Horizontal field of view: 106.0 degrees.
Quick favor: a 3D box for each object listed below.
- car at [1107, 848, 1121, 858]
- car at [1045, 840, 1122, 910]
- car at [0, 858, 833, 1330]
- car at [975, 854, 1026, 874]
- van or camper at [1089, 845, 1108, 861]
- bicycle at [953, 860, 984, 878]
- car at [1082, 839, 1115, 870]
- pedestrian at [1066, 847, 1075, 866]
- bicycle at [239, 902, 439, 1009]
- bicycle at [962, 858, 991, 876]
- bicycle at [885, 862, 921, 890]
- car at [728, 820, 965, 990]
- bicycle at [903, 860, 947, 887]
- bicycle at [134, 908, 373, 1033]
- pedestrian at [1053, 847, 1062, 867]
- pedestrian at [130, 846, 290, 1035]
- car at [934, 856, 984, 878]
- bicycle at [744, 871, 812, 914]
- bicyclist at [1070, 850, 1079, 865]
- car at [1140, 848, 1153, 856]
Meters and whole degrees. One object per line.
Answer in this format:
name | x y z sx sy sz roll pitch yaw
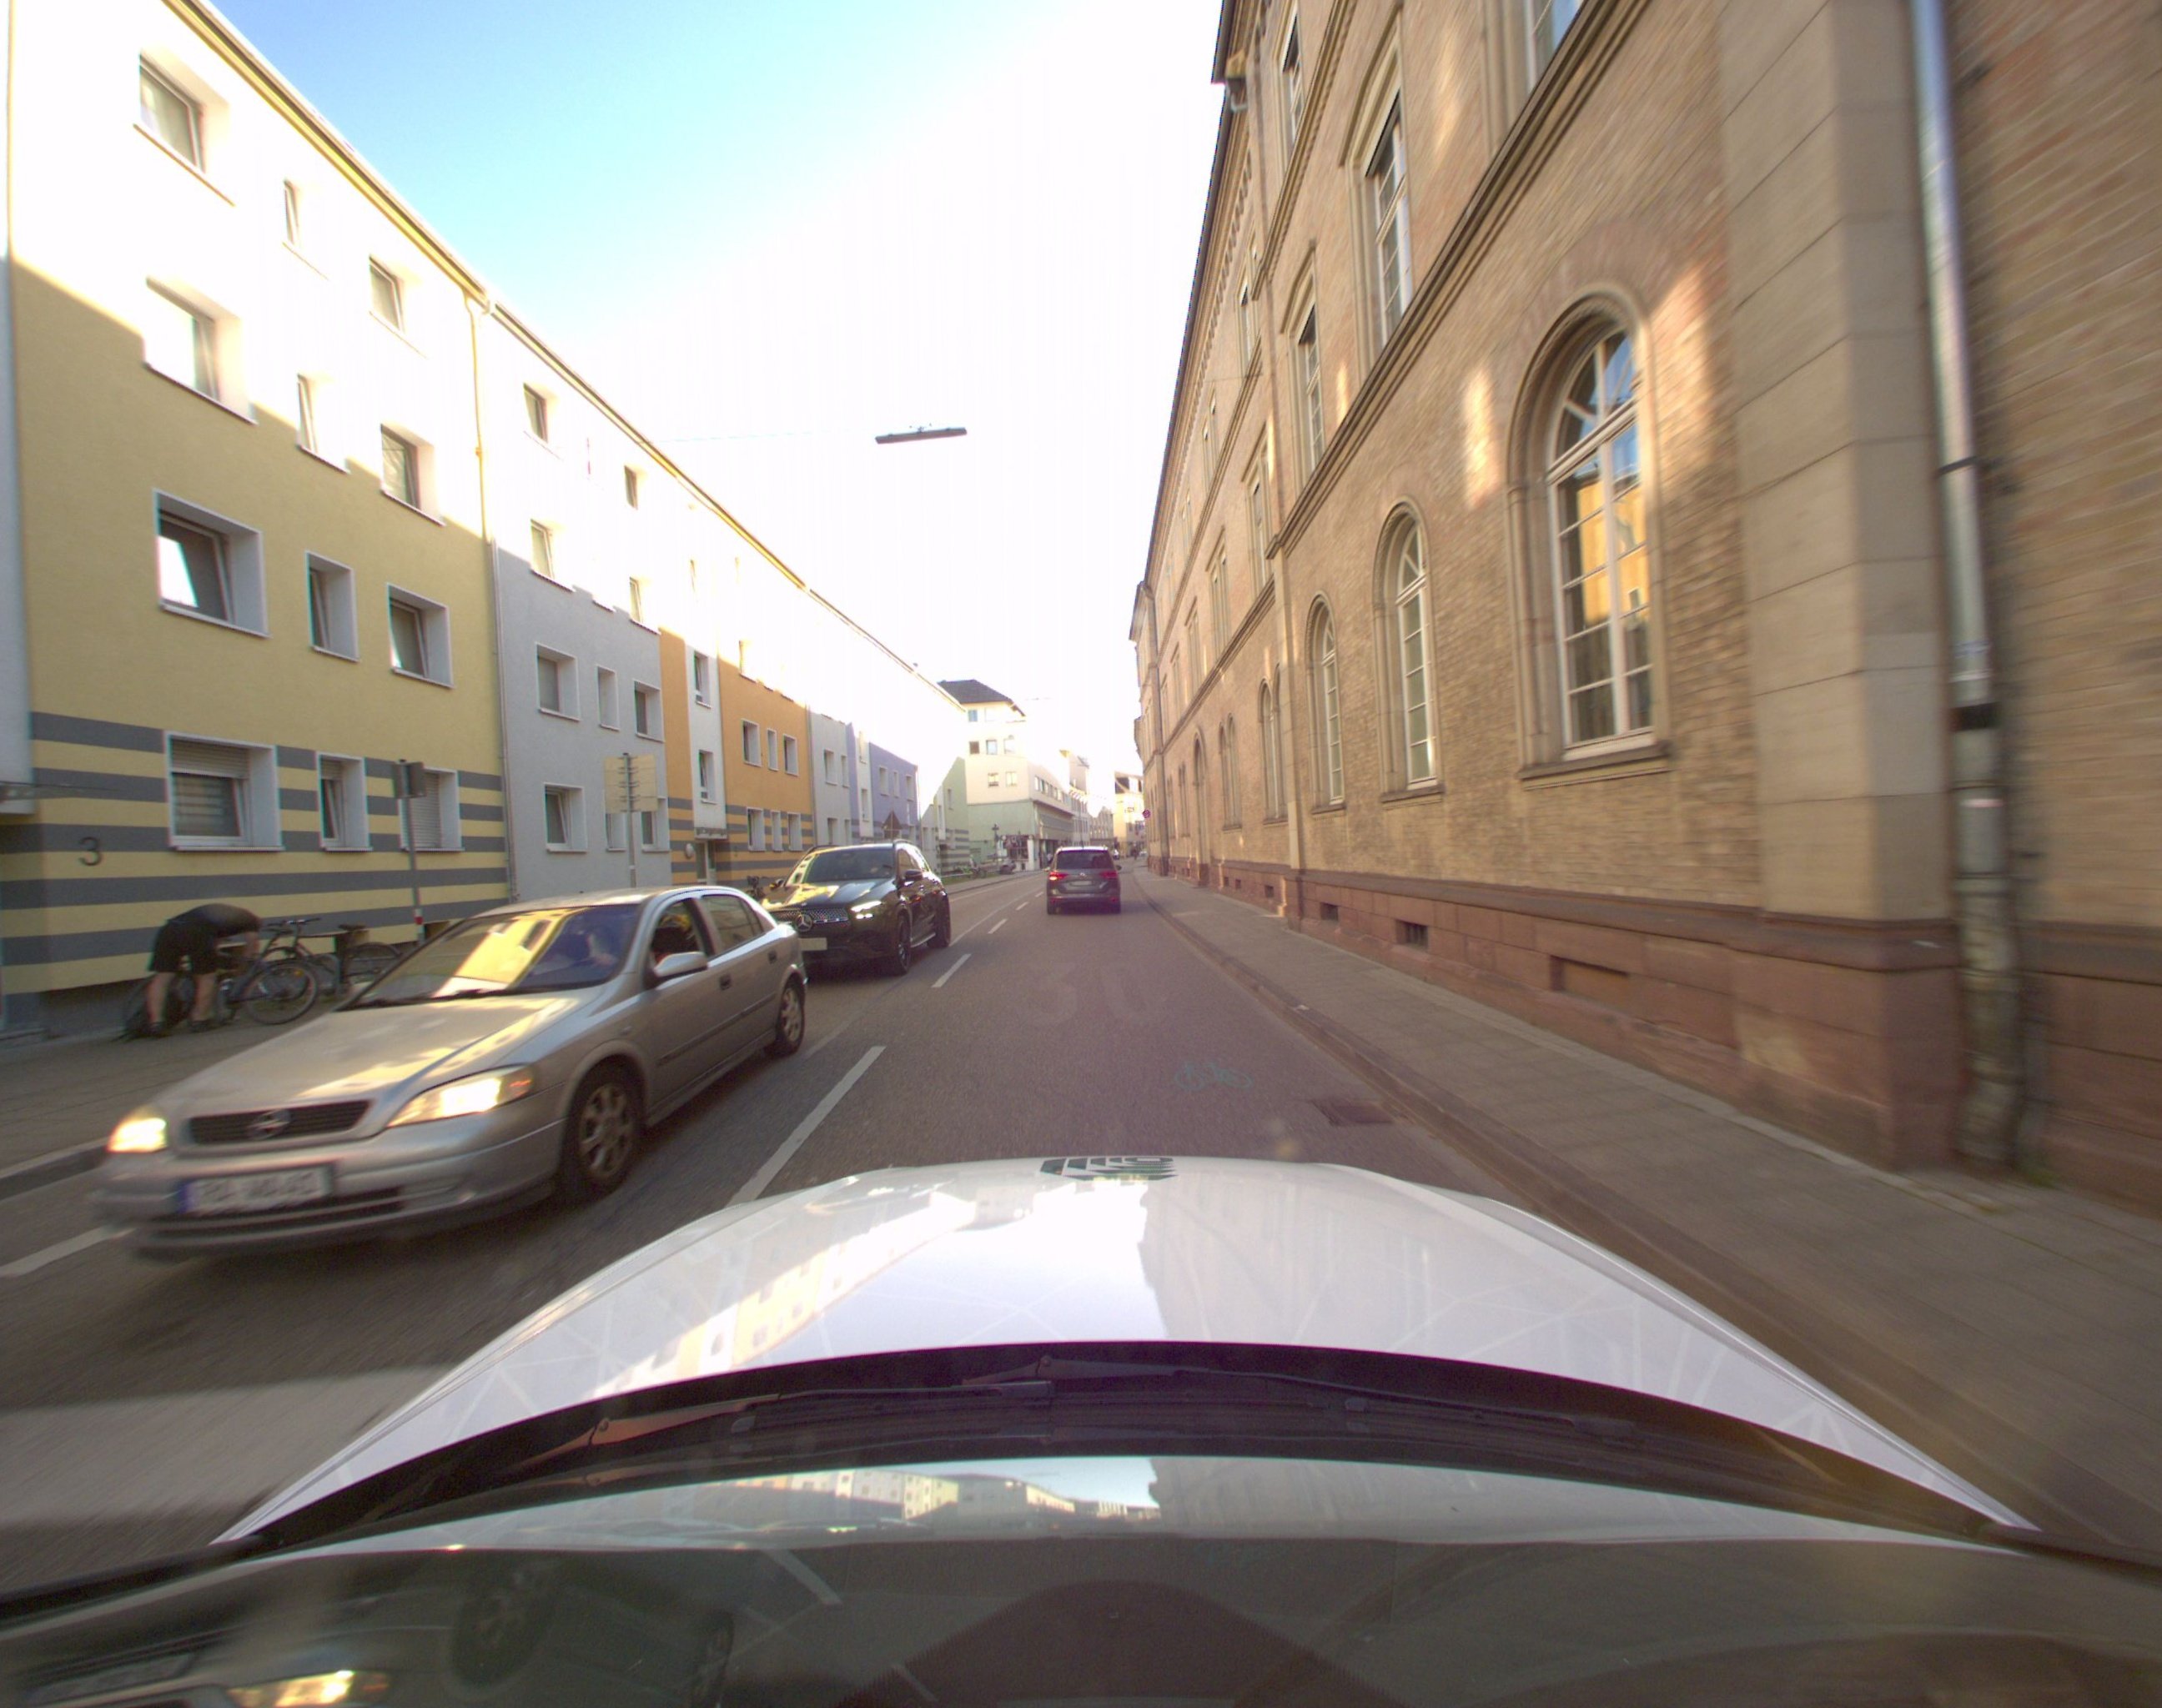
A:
car | 5.267 -0.106 130.432 1.855 1.468 3.843 -3 0 8
car | 0.072 0.477 20.691 1.756 1.607 4.000 0 0 0
car | -3.062 0.864 4.994 1.736 1.486 4.135 -5 0 -1
car | -6.982 0.856 70.927 4.079 1.442 1.950 -4 0 4
van or camper | 2.496 -0.175 114.320 1.982 2.013 4.495 -3 0 9
bicycle | -7.396 0.963 53.460 1.931 1.179 0.611 -1 -1 -13
car | 1.195 0.024 53.814 1.986 1.881 4.002 -3 0 2
pedestrian | -1.085 0.240 82.055 0.550 1.829 0.735 -3 0 27
bicycle | -9.318 1.249 10.287 1.750 1.145 0.649 -3 0 -7
bicycle | -7.042 0.894 54.917 1.926 1.179 0.612 -1 -1 -6
bicycle | -8.489 1.045 38.837 1.574 1.241 0.384 -3 0 0
car | -3.129 0.590 12.152 1.894 1.834 5.094 -5 0 0
bicycle | -7.891 1.001 41.210 2.001 1.231 0.623 -3 0 0
bicycle | -8.992 1.241 8.913 1.750 1.145 0.649 -3 0 -7
pedestrian | -2.308 0.295 79.456 0.550 1.829 0.735 -3 0 27
pedestrian | -9.125 0.864 8.555 0.713 1.854 0.874 -3 0 22
car | -9.746 1.050 65.175 3.484 1.442 1.816 -4 0 4
bicycle | -9.075 1.135 24.459 1.750 1.145 0.649 -3 0 -7
bicyclist | -0.735 0.356 90.055 0.827 1.561 0.760 -3 0 3
car | 12.956 -0.397 160.376 1.720 1.468 4.018 -3 0 17
